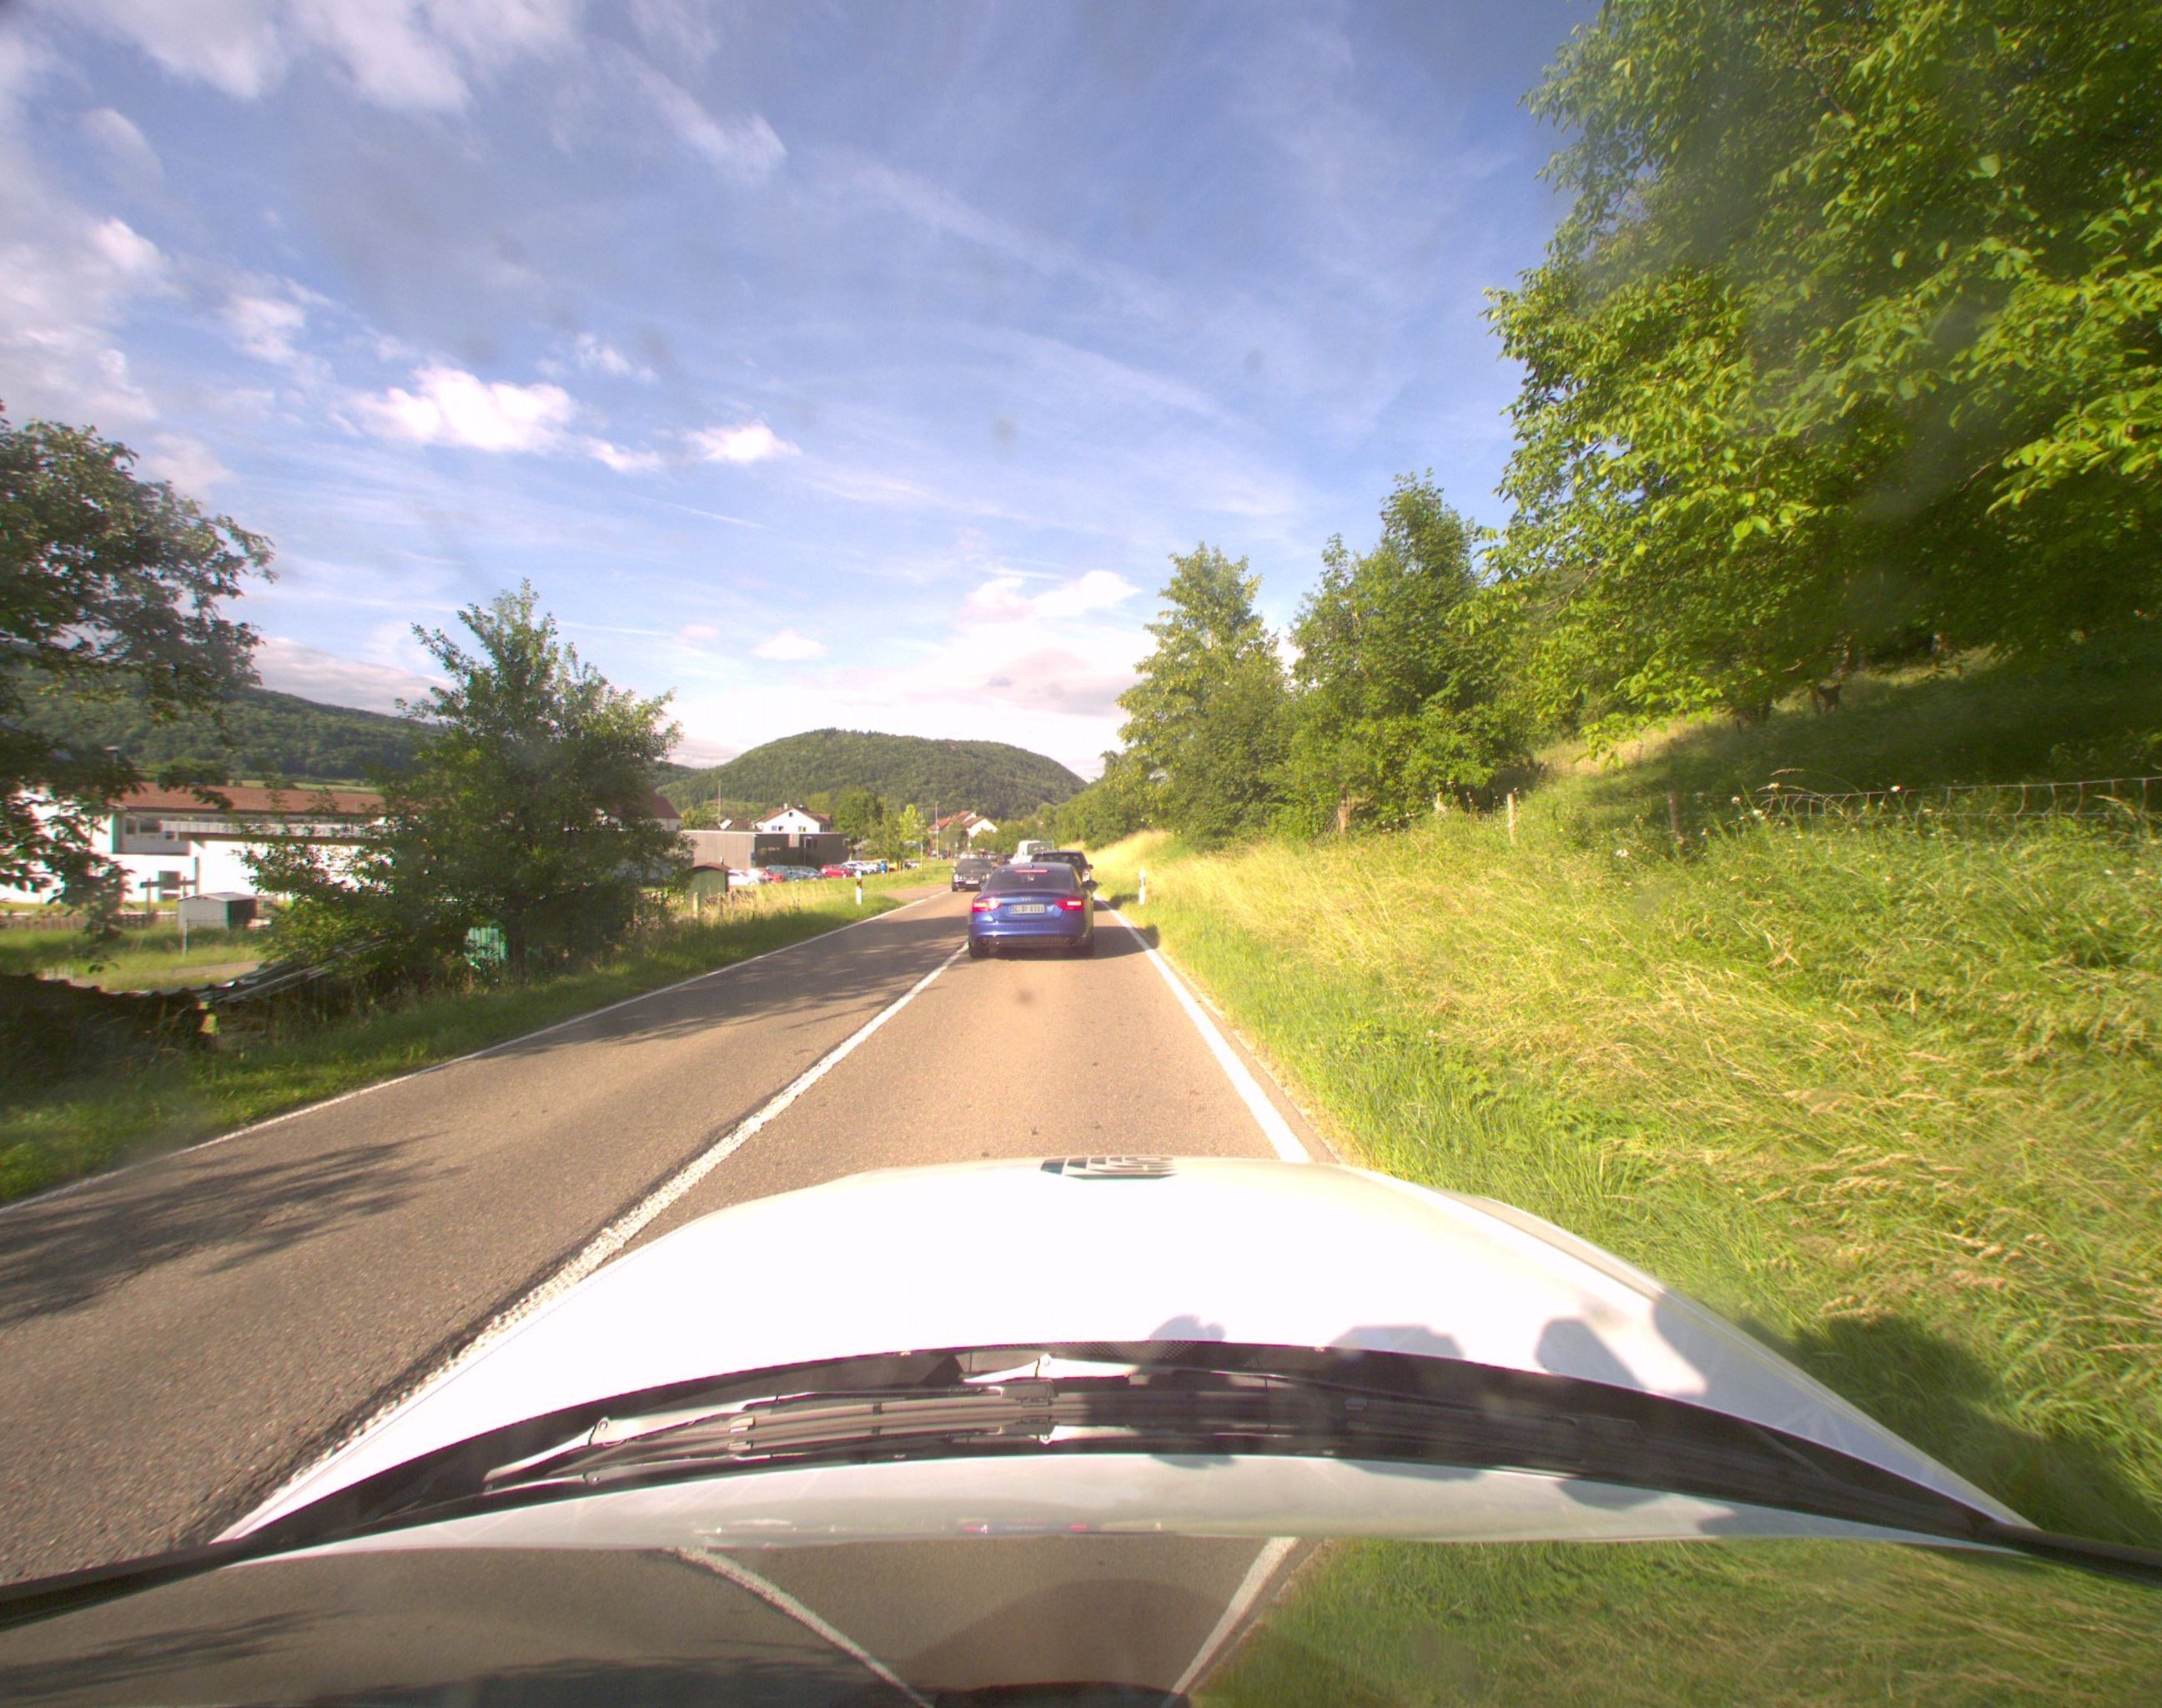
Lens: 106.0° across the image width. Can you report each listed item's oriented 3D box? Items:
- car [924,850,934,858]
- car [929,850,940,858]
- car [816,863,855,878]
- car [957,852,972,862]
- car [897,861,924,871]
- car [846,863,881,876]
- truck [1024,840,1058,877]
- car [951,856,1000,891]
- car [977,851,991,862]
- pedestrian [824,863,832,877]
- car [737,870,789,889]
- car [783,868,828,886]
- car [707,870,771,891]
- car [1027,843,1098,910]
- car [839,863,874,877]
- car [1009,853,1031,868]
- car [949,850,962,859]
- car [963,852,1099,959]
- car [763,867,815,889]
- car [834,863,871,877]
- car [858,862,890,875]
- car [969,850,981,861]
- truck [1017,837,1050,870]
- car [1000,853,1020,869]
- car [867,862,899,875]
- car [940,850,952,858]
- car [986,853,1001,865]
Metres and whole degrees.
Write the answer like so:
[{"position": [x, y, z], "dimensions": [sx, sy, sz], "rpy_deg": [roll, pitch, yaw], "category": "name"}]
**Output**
[{"position": [-36.214, 0.026, 194.176], "dimensions": [1.851, 1.712, 3.974], "rpy_deg": [0, 0, -19], "category": "car"}, {"position": [-33.564, -0.005, 187.068], "dimensions": [1.851, 1.712, 3.974], "rpy_deg": [0, 0, -19], "category": "car"}, {"position": [-28.660, 1.939, 95.008], "dimensions": [3.979, 1.711, 1.997], "rpy_deg": [-1, 0, -4], "category": "car"}, {"position": [-21.242, 0.552, 148.209], "dimensions": [1.851, 1.712, 3.974], "rpy_deg": [0, 0, -19], "category": "car"}, {"position": [-27.016, 1.929, 129.422], "dimensions": [3.979, 1.579, 1.750], "rpy_deg": [-1, -1, -4], "category": "car"}, {"position": [-28.424, 2.007, 106.532], "dimensions": [3.979, 1.711, 1.997], "rpy_deg": [-1, 0, -4], "category": "car"}, {"position": [-2.964, 0.323, 58.966], "dimensions": [2.226, 2.570, 6.093], "rpy_deg": [-1, 0, -4], "category": "truck"}, {"position": [-4.432, 0.789, 34.567], "dimensions": [1.589, 1.354, 4.201], "rpy_deg": [-1, 0, -1], "category": "car"}, {"position": [-15.206, 0.454, 127.455], "dimensions": [1.846, 1.712, 3.985], "rpy_deg": [-1, 0, -10], "category": "car"}, {"position": [-34.654, 2.190, 111.570], "dimensions": [0.823, 2.014, 0.972], "rpy_deg": [-1, -1, -2], "category": "pedestrian"}, {"position": [-28.990, 2.321, 74.413], "dimensions": [3.979, 1.711, 1.997], "rpy_deg": [-1, 0, -4], "category": "car"}, {"position": [-28.437, 2.376, 84.278], "dimensions": [3.979, 1.711, 1.997], "rpy_deg": [-1, 0, -4], "category": "car"}, {"position": [-29.916, 2.313, 71.291], "dimensions": [4.722, 1.711, 1.997], "rpy_deg": [-1, 0, -4], "category": "car"}, {"position": [-0.482, 0.580, 22.413], "dimensions": [1.749, 1.681, 3.845], "rpy_deg": [-1, 0, -1], "category": "car"}, {"position": [-28.444, 1.987, 103.247], "dimensions": [3.979, 1.711, 1.997], "rpy_deg": [-1, 0, -4], "category": "car"}, {"position": [-6.002, 0.641, 80.139], "dimensions": [1.845, 1.482, 3.988], "rpy_deg": [-1, 0, -9], "category": "car"}, {"position": [-24.708, 0.043, 160.419], "dimensions": [1.851, 1.712, 3.974], "rpy_deg": [0, 0, -19], "category": "car"}, {"position": [-0.639, 0.704, 12.918], "dimensions": [1.747, 1.430, 3.848], "rpy_deg": [-1, 0, 2], "category": "car"}, {"position": [-28.748, 2.354, 80.234], "dimensions": [4.398, 2.008, 1.997], "rpy_deg": [-1, -1, -4], "category": "car"}, {"position": [-27.875, 1.958, 99.610], "dimensions": [3.979, 1.711, 1.997], "rpy_deg": [-1, 0, -4], "category": "car"}, {"position": [-28.511, 2.043, 112.315], "dimensions": [3.979, 1.711, 1.997], "rpy_deg": [-1, 0, -4], "category": "car"}, {"position": [-17.835, 0.293, 137.041], "dimensions": [1.846, 1.712, 3.985], "rpy_deg": [-1, 0, -10], "category": "car"}, {"position": [-3.968, -0.001, 66.700], "dimensions": [2.228, 2.570, 6.689], "rpy_deg": [-1, 0, -8], "category": "truck"}, {"position": [-7.918, 0.767, 90.252], "dimensions": [1.846, 1.712, 3.986], "rpy_deg": [-1, 0, -10], "category": "car"}, {"position": [-27.928, 2.052, 114.871], "dimensions": [3.979, 1.711, 1.997], "rpy_deg": [-1, 0, -4], "category": "car"}, {"position": [-28.915, 0.007, 174.537], "dimensions": [1.851, 1.712, 3.974], "rpy_deg": [0, 0, -19], "category": "car"}, {"position": [-12.826, 0.775, 119.425], "dimensions": [1.846, 1.712, 3.985], "rpy_deg": [-1, 0, -10], "category": "car"}]
